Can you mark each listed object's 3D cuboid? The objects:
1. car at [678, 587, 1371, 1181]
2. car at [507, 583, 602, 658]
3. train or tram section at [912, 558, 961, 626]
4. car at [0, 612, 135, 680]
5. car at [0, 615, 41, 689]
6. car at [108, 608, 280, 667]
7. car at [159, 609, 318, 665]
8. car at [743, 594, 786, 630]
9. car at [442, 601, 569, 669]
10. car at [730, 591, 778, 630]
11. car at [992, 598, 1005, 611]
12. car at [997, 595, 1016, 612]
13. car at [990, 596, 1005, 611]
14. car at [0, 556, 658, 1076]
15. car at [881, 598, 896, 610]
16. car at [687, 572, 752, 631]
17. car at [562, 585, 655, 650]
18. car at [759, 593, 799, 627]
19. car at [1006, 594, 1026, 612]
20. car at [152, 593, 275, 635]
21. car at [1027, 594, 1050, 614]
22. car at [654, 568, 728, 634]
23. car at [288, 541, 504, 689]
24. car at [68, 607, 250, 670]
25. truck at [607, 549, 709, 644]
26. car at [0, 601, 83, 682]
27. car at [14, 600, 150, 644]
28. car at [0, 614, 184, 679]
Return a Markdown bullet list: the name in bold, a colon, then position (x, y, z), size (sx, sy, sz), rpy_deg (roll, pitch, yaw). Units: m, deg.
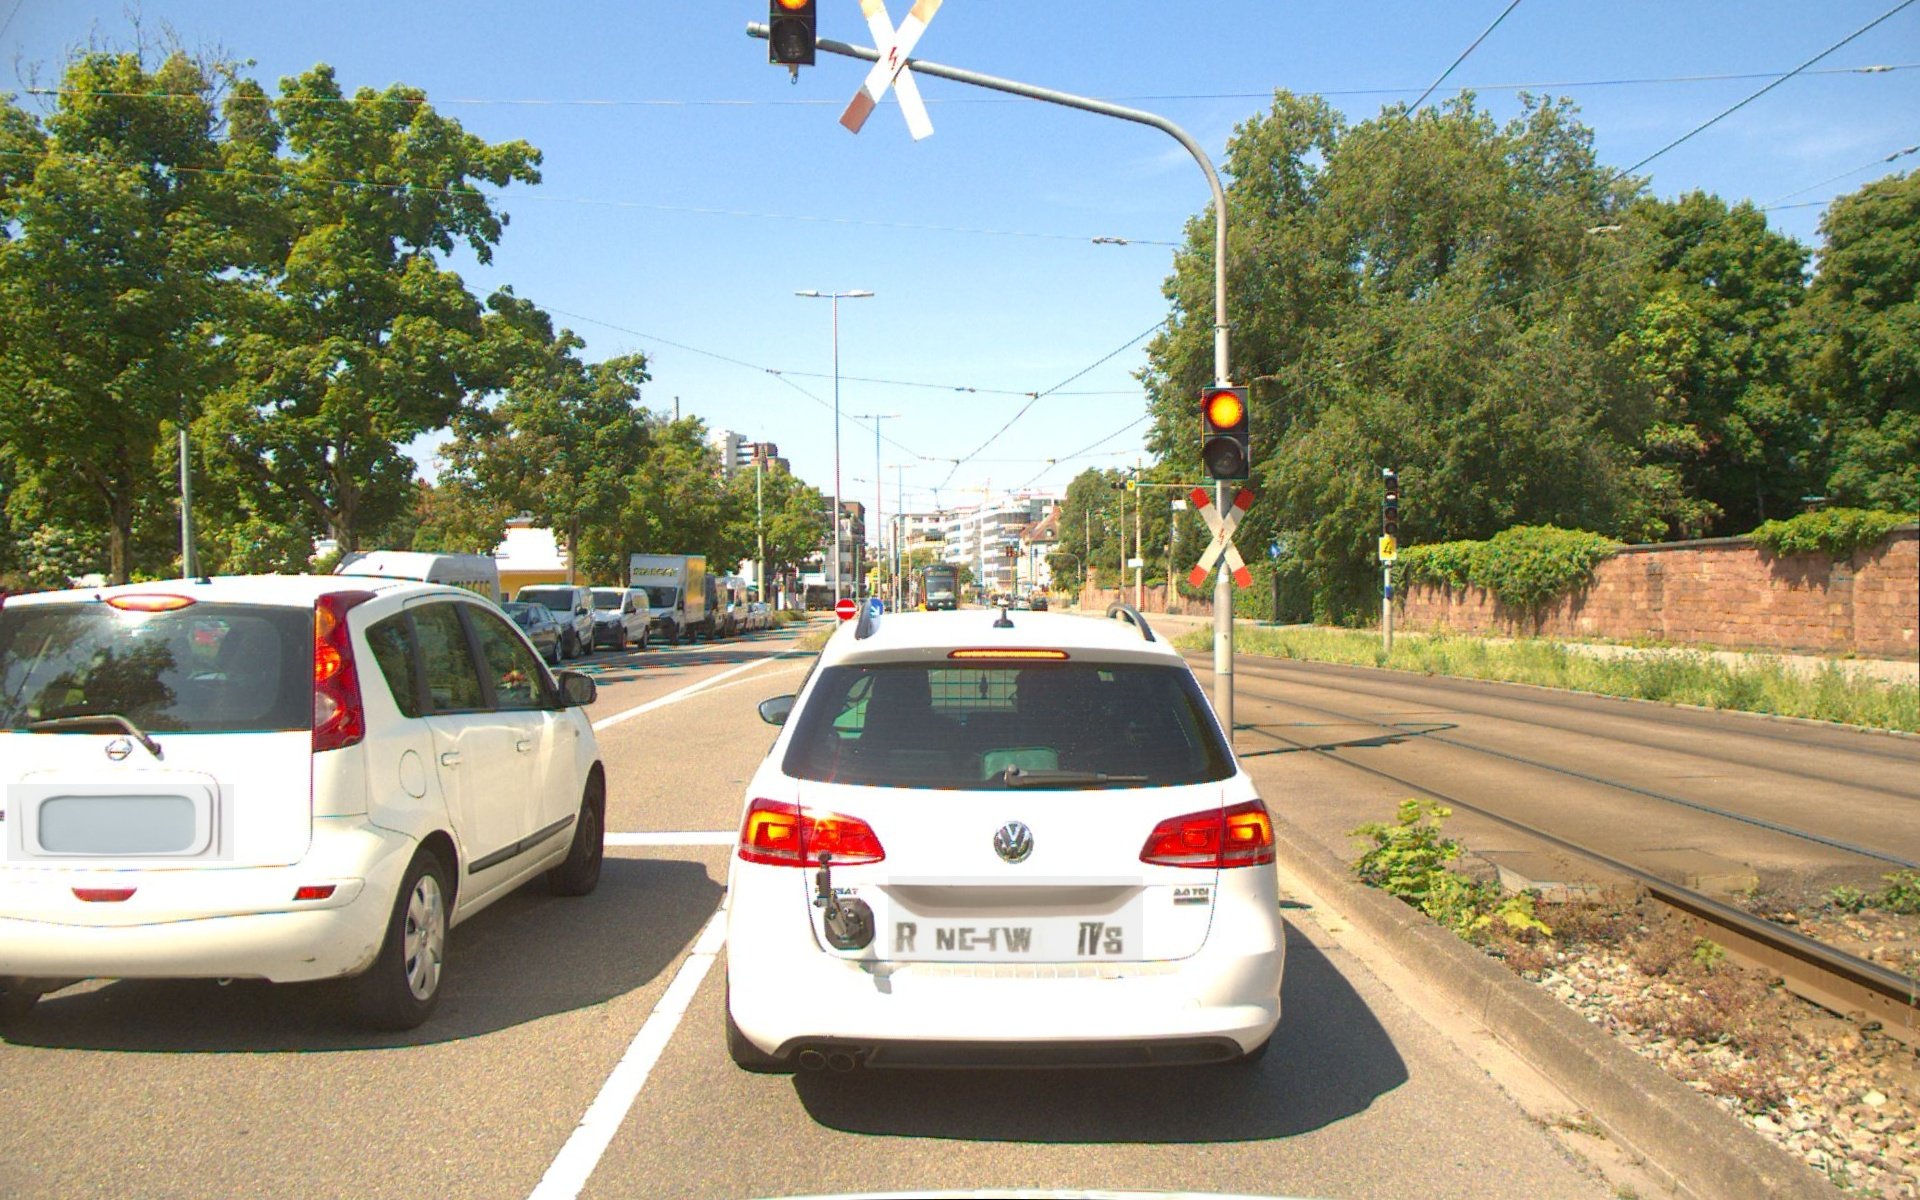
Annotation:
- **car**: position (0.139, 0.704, 6.186), size (1.726, 1.455, 3.999), rpy_deg (-1, 0, -1)
- **car**: position (-10.992, 0.505, 45.143), size (1.828, 1.900, 5.068), rpy_deg (1, 0, -6)
- **train or tram section**: position (-1.472, -0.514, 104.047), size (2.812, 3.923, 12.389), rpy_deg (-1, 0, -1)
- **car**: position (-21.618, 1.090, 38.480), size (3.909, 1.440, 1.728), rpy_deg (-2, 0, -5)
- **car**: position (-20.739, 1.100, 32.847), size (3.909, 1.440, 1.728), rpy_deg (-2, 0, -5)
- **car**: position (-21.303, 1.032, 46.112), size (3.909, 1.440, 1.728), rpy_deg (-2, 0, -5)
- **car**: position (-21.291, 1.075, 48.930), size (3.909, 1.440, 1.728), rpy_deg (-2, 0, -5)
- **car**: position (-10.784, 0.649, 91.511), size (1.826, 1.900, 5.412), rpy_deg (1, 0, -1)
- **car**: position (-10.527, 0.778, 38.609), size (1.826, 1.440, 4.278), rpy_deg (1, 0, -1)
- **car**: position (-10.511, 0.502, 84.701), size (1.826, 1.900, 5.412), rpy_deg (1, 0, -1)
- **car**: position (5.837, 0.718, 251.166), size (1.826, 1.900, 5.060), rpy_deg (1, 0, -2)
- **car**: position (5.409, 0.394, 192.508), size (1.826, 1.900, 5.060), rpy_deg (1, 0, -2)
- **car**: position (5.215, 0.476, 231.275), size (1.826, 1.900, 5.060), rpy_deg (1, 0, -2)
- **car**: position (-2.569, 0.643, 7.287), size (1.628, 1.575, 4.546), rpy_deg (0, 0, 0)
- **car**: position (-8.954, 0.498, 207.864), size (1.672, 1.499, 4.584), rpy_deg (-1, 0, -5)
- **car**: position (-10.947, 0.064, 75.586), size (2.079, 2.560, 5.733), rpy_deg (1, 0, 0)
- **car**: position (-10.908, 0.502, 51.729), size (1.826, 1.900, 5.412), rpy_deg (1, 0, -1)
- **car**: position (-10.730, 0.562, 98.428), size (1.826, 1.900, 5.412), rpy_deg (1, 0, -1)
- **car**: position (6.000, 0.305, 176.923), size (1.826, 1.900, 5.060), rpy_deg (1, 0, -2)
- **car**: position (-34.454, 0.631, 76.454), size (4.698, 1.819, 2.062), rpy_deg (1, 0, -5)
- **car**: position (7.608, 0.346, 160.785), size (1.826, 1.900, 5.060), rpy_deg (1, 0, -2)
- **car**: position (-11.028, 0.031, 68.149), size (2.079, 2.560, 5.733), rpy_deg (1, 0, 0)
- **car**: position (-10.758, 0.254, 32.131), size (2.079, 2.560, 5.817), rpy_deg (1, 0, 1)
- **car**: position (-21.118, 0.999, 43.704), size (3.909, 1.440, 1.728), rpy_deg (-2, 0, -5)
- **truck**: position (-10.873, -0.141, 60.152), size (2.371, 3.205, 6.996), rpy_deg (1, 0, 0)
- **car**: position (-21.089, 0.940, 35.119), size (3.909, 1.638, 1.728), rpy_deg (-2, 0, -5)
- **car**: position (-37.831, 0.950, 71.374), size (4.698, 1.819, 2.062), rpy_deg (1, 0, -5)
- **car**: position (-21.746, 1.143, 41.243), size (3.909, 1.440, 1.728), rpy_deg (-2, 0, -5)
